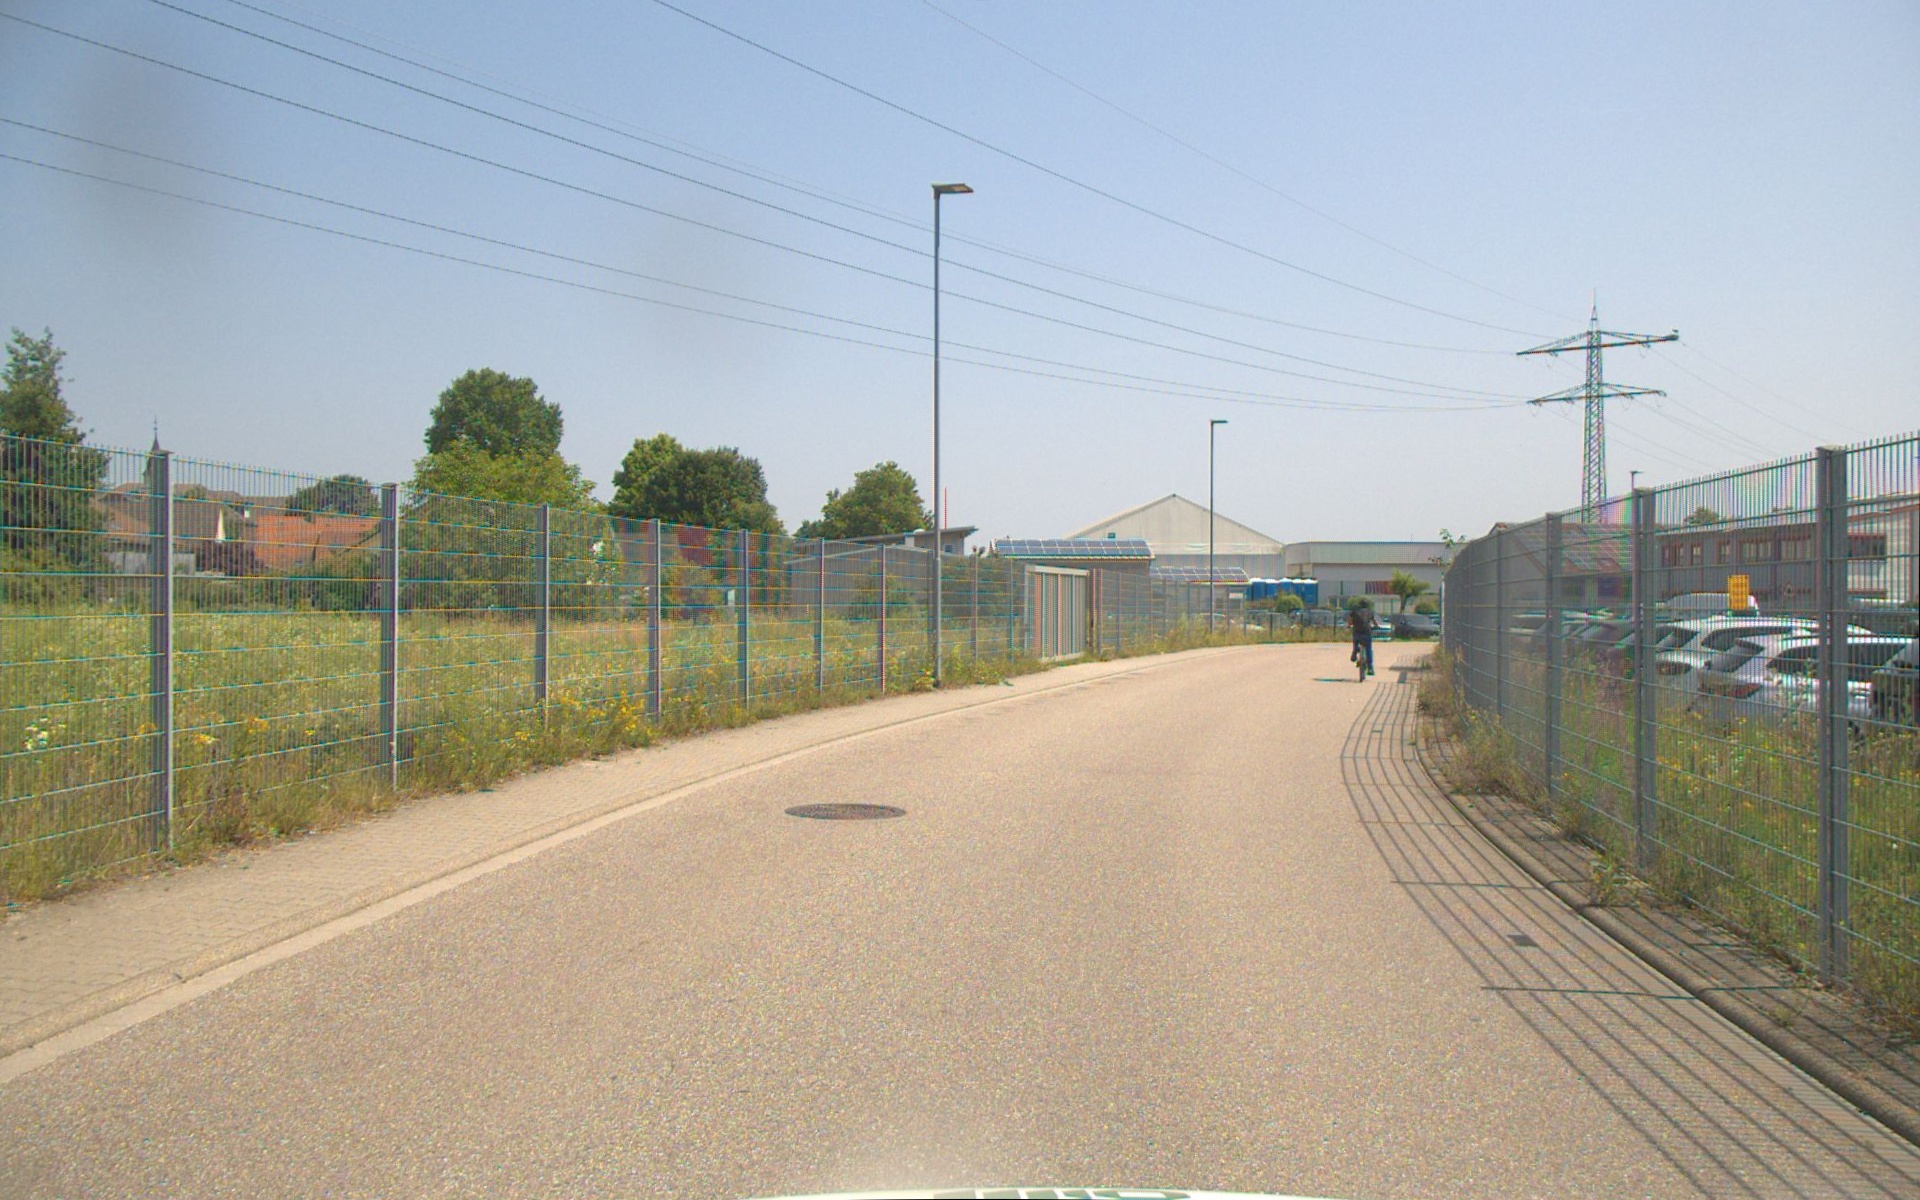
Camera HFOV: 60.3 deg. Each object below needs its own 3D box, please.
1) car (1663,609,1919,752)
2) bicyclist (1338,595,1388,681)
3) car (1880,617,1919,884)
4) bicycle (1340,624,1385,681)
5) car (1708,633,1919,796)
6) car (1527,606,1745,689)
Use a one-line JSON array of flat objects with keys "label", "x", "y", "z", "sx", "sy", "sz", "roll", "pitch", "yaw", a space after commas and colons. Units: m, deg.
[{"label": "car", "x": 10.471, "y": 0.944, "z": 19.153, "sx": 4.124, "sy": 1.430, "sz": 1.839, "roll": 3, "pitch": 0, "yaw": 20}, {"label": "bicyclist", "x": 8.057, "y": 0.740, "z": 33.056, "sx": 0.825, "sy": 1.646, "sz": 1.040, "roll": 2, "pitch": 1, "yaw": 19}, {"label": "car", "x": 8.176, "y": 0.959, "z": 10.121, "sx": 4.191, "sy": 1.666, "sz": 1.765, "roll": 0, "pitch": 0, "yaw": 19}, {"label": "bicycle", "x": 8.060, "y": 1.039, "z": 33.072, "sx": 0.671, "sy": 1.070, "sz": 1.901, "roll": 1, "pitch": 0, "yaw": 19}, {"label": "car", "x": 9.815, "y": 1.170, "z": 16.302, "sx": 4.121, "sy": 1.430, "sz": 1.840, "roll": 3, "pitch": 0, "yaw": 14}, {"label": "car", "x": 14.532, "y": 0.989, "z": 35.734, "sx": 4.075, "sy": 1.499, "sz": 1.639, "roll": 3, "pitch": 0, "yaw": 12}]
